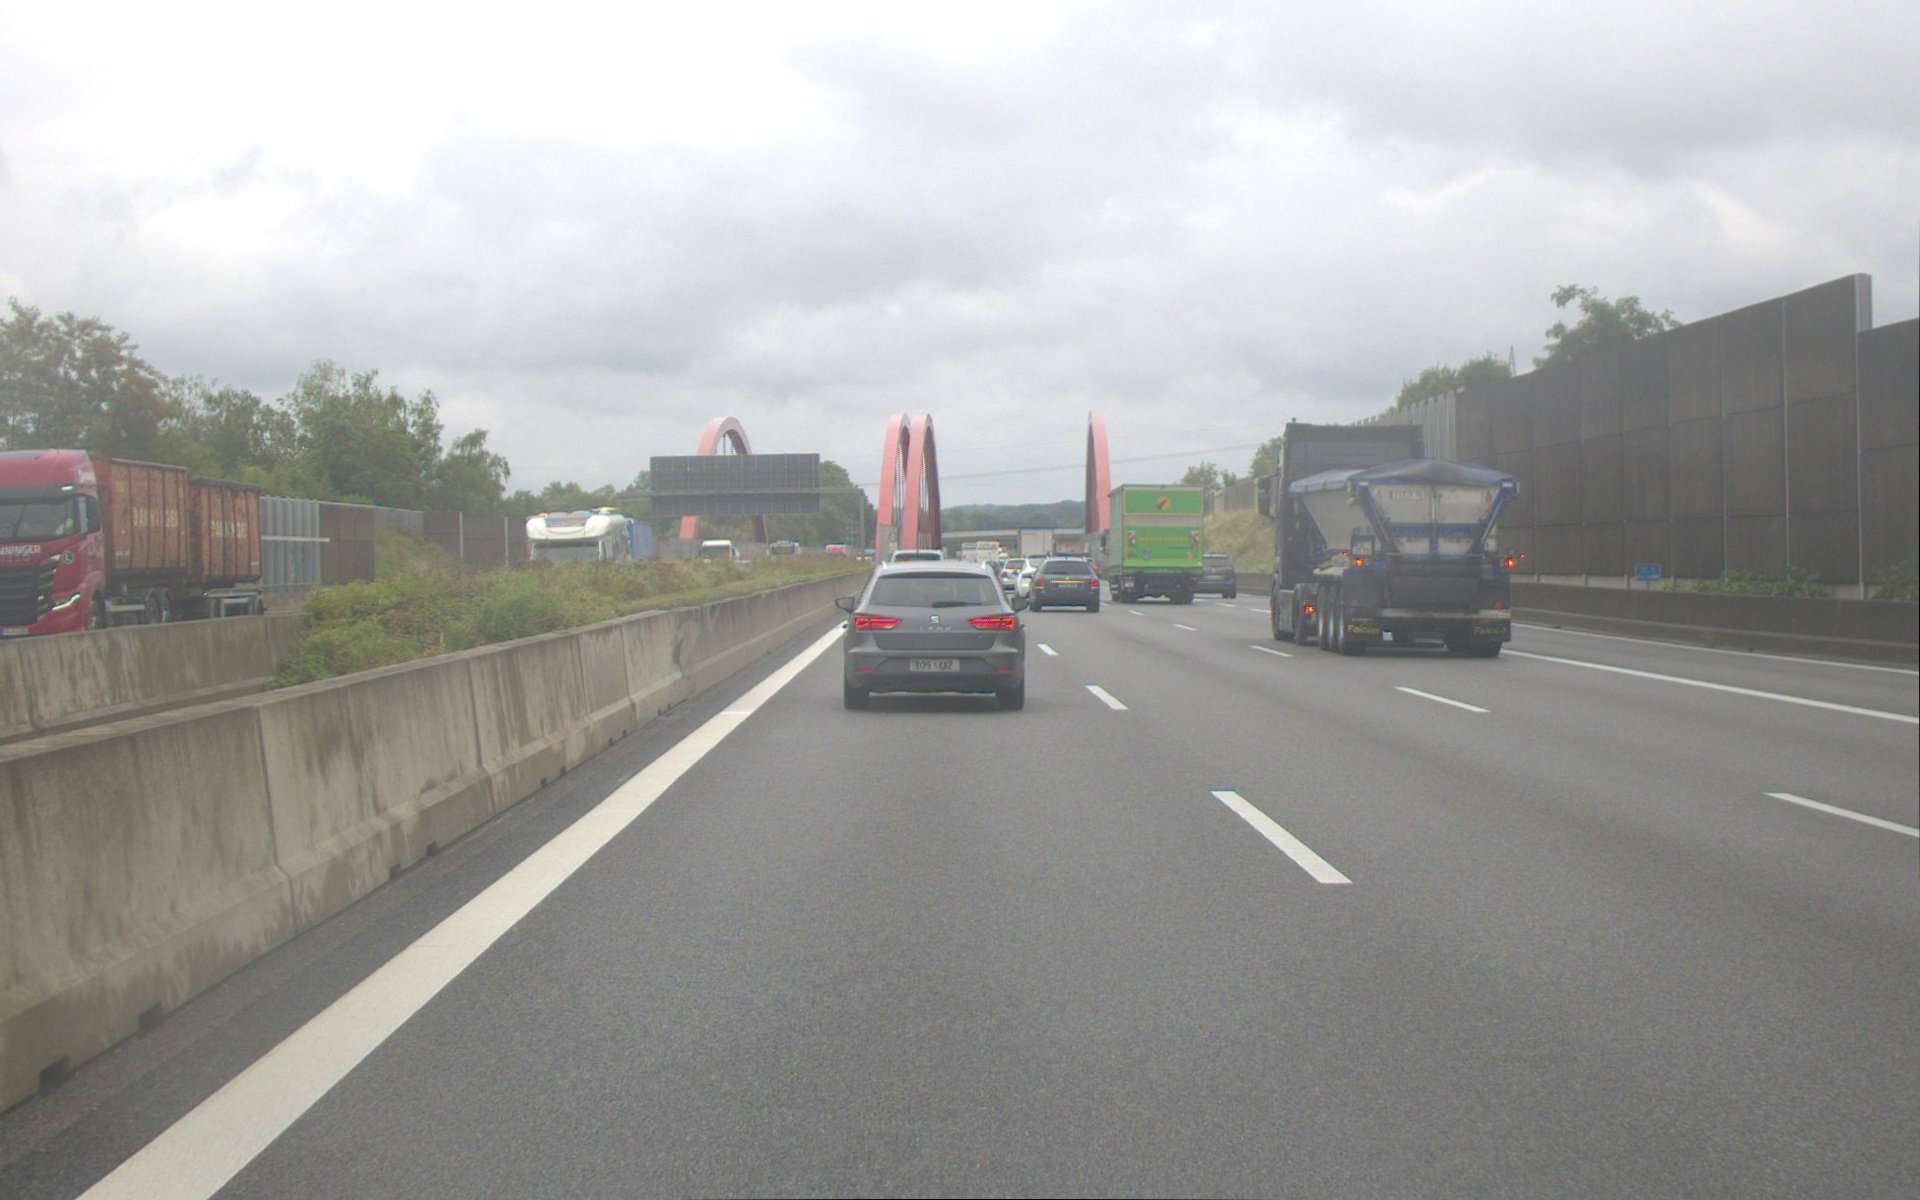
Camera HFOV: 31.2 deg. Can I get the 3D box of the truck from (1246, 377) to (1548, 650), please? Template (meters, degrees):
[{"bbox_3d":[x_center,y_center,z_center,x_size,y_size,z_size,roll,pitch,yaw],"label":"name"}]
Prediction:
[{"bbox_3d":[6.932,-1.327,56.727,3.089,3.936,12.946,-1,1,-1],"label":"truck"}]

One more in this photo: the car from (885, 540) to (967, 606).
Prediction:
[{"bbox_3d":[-0.864,-0.694,86.484,1.993,1.579,4.000,-1,1,-1],"label":"car"}]

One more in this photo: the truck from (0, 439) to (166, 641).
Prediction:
[{"bbox_3d":[-17.495,-1.144,66.594,2.696,3.694,6.481,1,1,0],"label":"truck"}]

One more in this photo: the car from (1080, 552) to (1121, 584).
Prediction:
[{"bbox_3d":[7.433,-1.713,181.974,1.957,1.641,4.000,1,1,0],"label":"car"}]

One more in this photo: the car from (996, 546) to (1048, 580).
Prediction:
[{"bbox_3d":[2.529,-1.510,140.665,1.993,1.349,4.000,-1,1,-1],"label":"car"}]

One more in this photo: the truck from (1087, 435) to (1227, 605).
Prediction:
[{"bbox_3d":[6.388,-2.554,113.346,3.997,5.248,11.219,1,1,1],"label":"truck"}]

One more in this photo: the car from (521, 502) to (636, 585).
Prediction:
[{"bbox_3d":[-10.457,-1.528,94.864,2.373,2.185,7.724,0,1,0],"label":"car"}]

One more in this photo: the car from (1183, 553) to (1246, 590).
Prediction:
[{"bbox_3d":[9.432,-1.071,127.796,1.993,1.349,4.000,-1,1,-1],"label":"car"}]

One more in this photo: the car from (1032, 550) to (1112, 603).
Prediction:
[{"bbox_3d":[2.912,-0.639,90.219,1.993,1.349,4.000,0,1,1],"label":"car"}]

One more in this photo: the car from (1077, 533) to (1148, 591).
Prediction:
[{"bbox_3d":[4.800,-1.211,108.603,1.993,1.744,4.000,-1,1,-1],"label":"car"}]

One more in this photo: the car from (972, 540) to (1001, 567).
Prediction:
[{"bbox_3d":[1.831,-3.255,240.550,1.993,1.809,4.000,1,1,0],"label":"car"}]

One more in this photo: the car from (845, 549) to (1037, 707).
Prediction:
[{"bbox_3d":[-0.220,0.233,33.752,1.763,1.448,4.000,1,1,-1],"label":"car"}]

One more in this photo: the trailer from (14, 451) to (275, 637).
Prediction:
[{"bbox_3d":[-17.477,-1.223,74.711,2.726,3.671,12.564,-1,1,0],"label":"trailer"}]

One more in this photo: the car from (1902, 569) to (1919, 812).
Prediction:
[{"bbox_3d":[6.657,0.593,17.887,1.939,1.422,5.289,1,1,-1],"label":"car"}]

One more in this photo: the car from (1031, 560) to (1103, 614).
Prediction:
[{"bbox_3d":[2.832,-0.363,91.529,1.782,1.401,3.626,0,1,0],"label":"car"}]
